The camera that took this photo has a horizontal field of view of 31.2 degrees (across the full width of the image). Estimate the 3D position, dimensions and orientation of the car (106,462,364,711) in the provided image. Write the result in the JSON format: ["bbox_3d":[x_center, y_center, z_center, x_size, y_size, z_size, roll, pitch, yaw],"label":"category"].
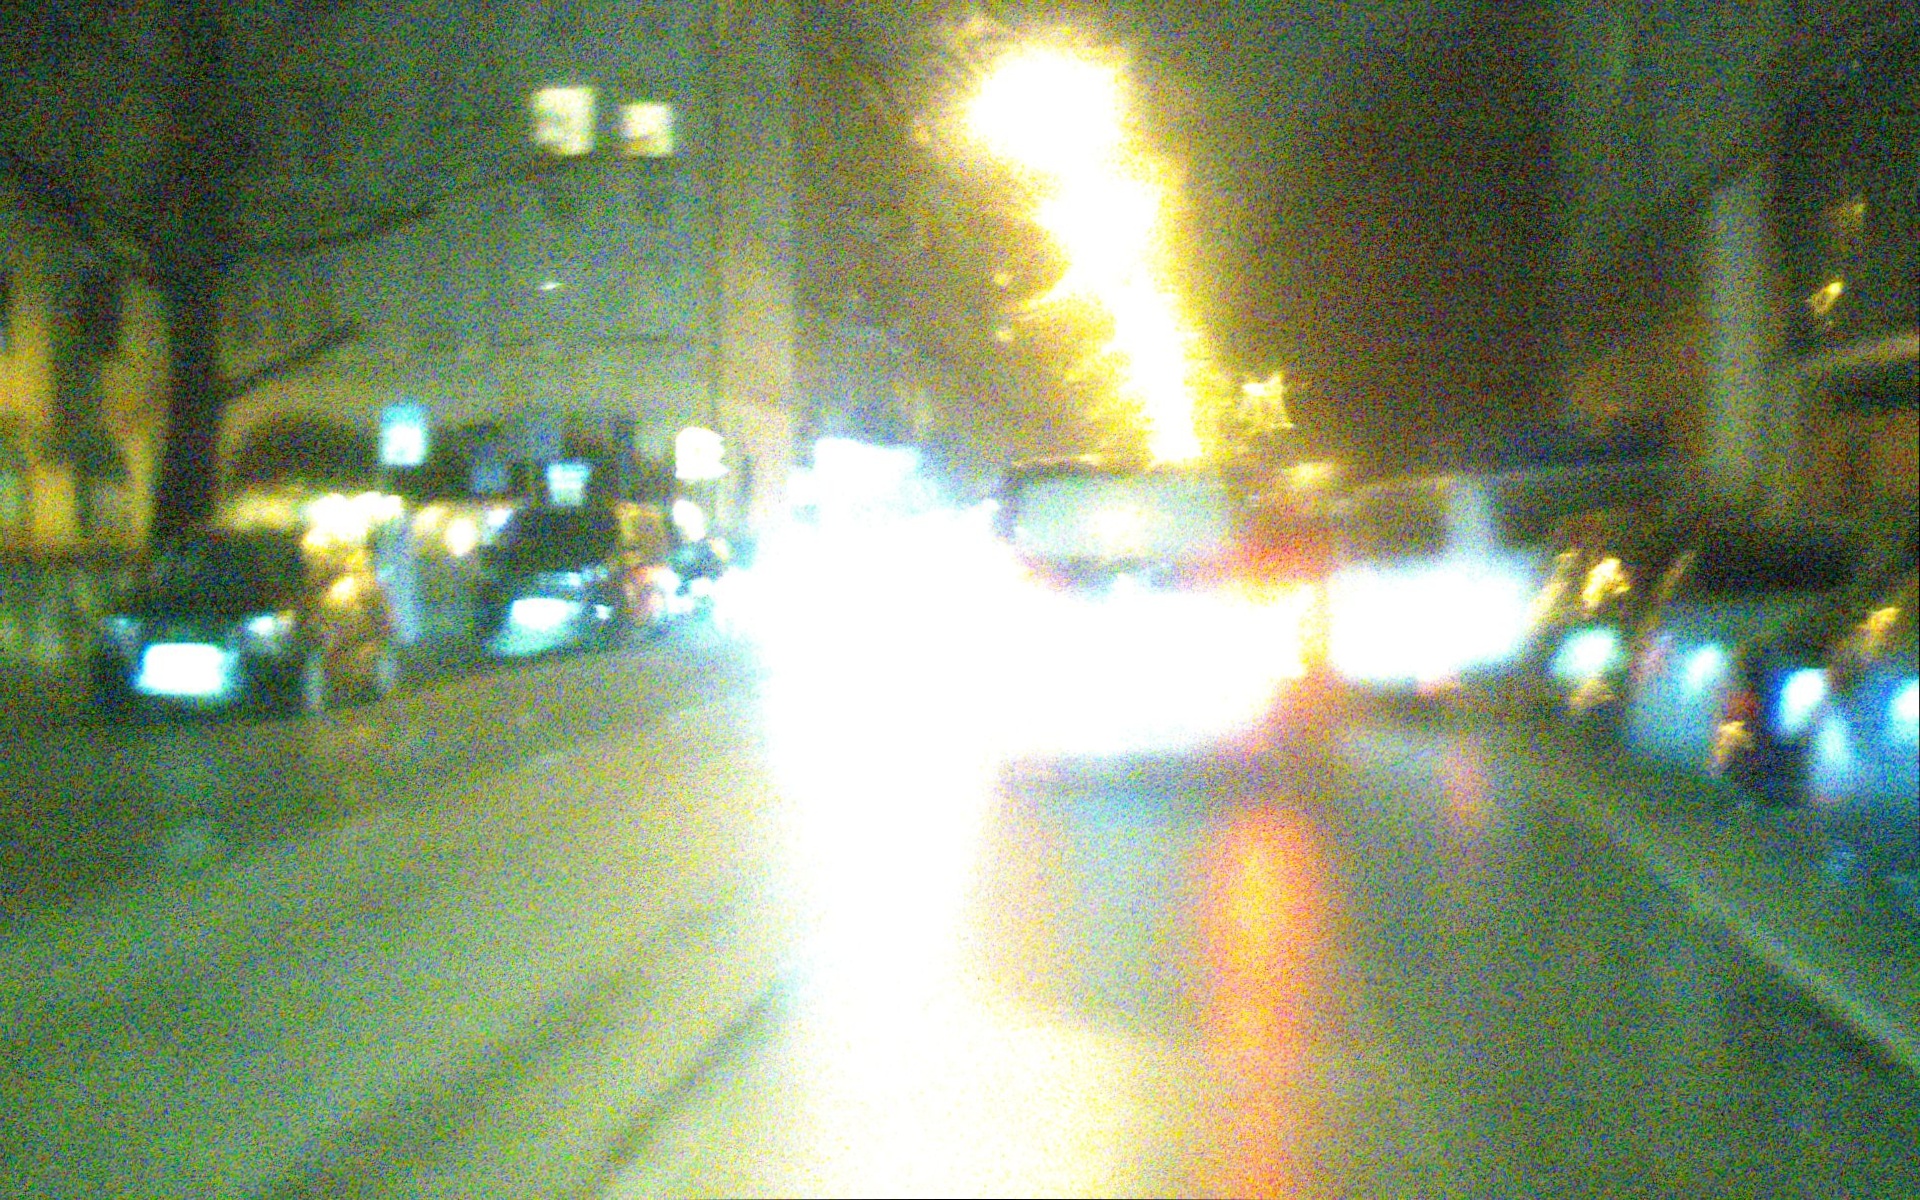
[{"bbox_3d":[-6.275,-0.155,29.522,1.990,1.965,4.303,-1,1,-13],"label":"car"}]

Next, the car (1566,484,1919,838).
[{"bbox_3d":[5.370,0.203,18.134,4.173,1.639,1.770,-3,2,-34],"label":"car"}]

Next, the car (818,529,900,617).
[{"bbox_3d":[-2.329,-0.649,79.953,1.724,1.965,4.221,0,1,1],"label":"car"}]

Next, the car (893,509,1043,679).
[{"bbox_3d":[0.114,-0.111,42.089,1.724,1.965,4.221,0,1,1],"label":"car"}]

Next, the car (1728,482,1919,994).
[{"bbox_3d":[4.990,0.350,11.881,4.171,1.639,1.771,-3,2,-16],"label":"car"}]

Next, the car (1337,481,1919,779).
[{"bbox_3d":[4.617,0.122,21.974,4.173,1.639,1.770,-3,2,-34],"label":"car"}]

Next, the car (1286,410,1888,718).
[{"bbox_3d":[5.492,-0.368,29.854,4.994,2.383,2.139,-3,2,-34],"label":"car"}]

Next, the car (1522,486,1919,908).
[{"bbox_3d":[4.796,0.303,15.156,4.171,1.639,1.771,-3,2,-16],"label":"car"}]

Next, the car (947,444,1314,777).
[{"bbox_3d":[1.170,0.025,22.819,2.168,1.965,4.301,-1,1,4],"label":"car"}]

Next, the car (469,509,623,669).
[{"bbox_3d":[-5.377,-0.171,44.349,1.724,1.965,3.729,-1,1,-10],"label":"car"}]

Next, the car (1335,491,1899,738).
[{"bbox_3d":[5.086,0.068,26.433,4.173,1.639,1.770,-3,2,-34],"label":"car"}]
